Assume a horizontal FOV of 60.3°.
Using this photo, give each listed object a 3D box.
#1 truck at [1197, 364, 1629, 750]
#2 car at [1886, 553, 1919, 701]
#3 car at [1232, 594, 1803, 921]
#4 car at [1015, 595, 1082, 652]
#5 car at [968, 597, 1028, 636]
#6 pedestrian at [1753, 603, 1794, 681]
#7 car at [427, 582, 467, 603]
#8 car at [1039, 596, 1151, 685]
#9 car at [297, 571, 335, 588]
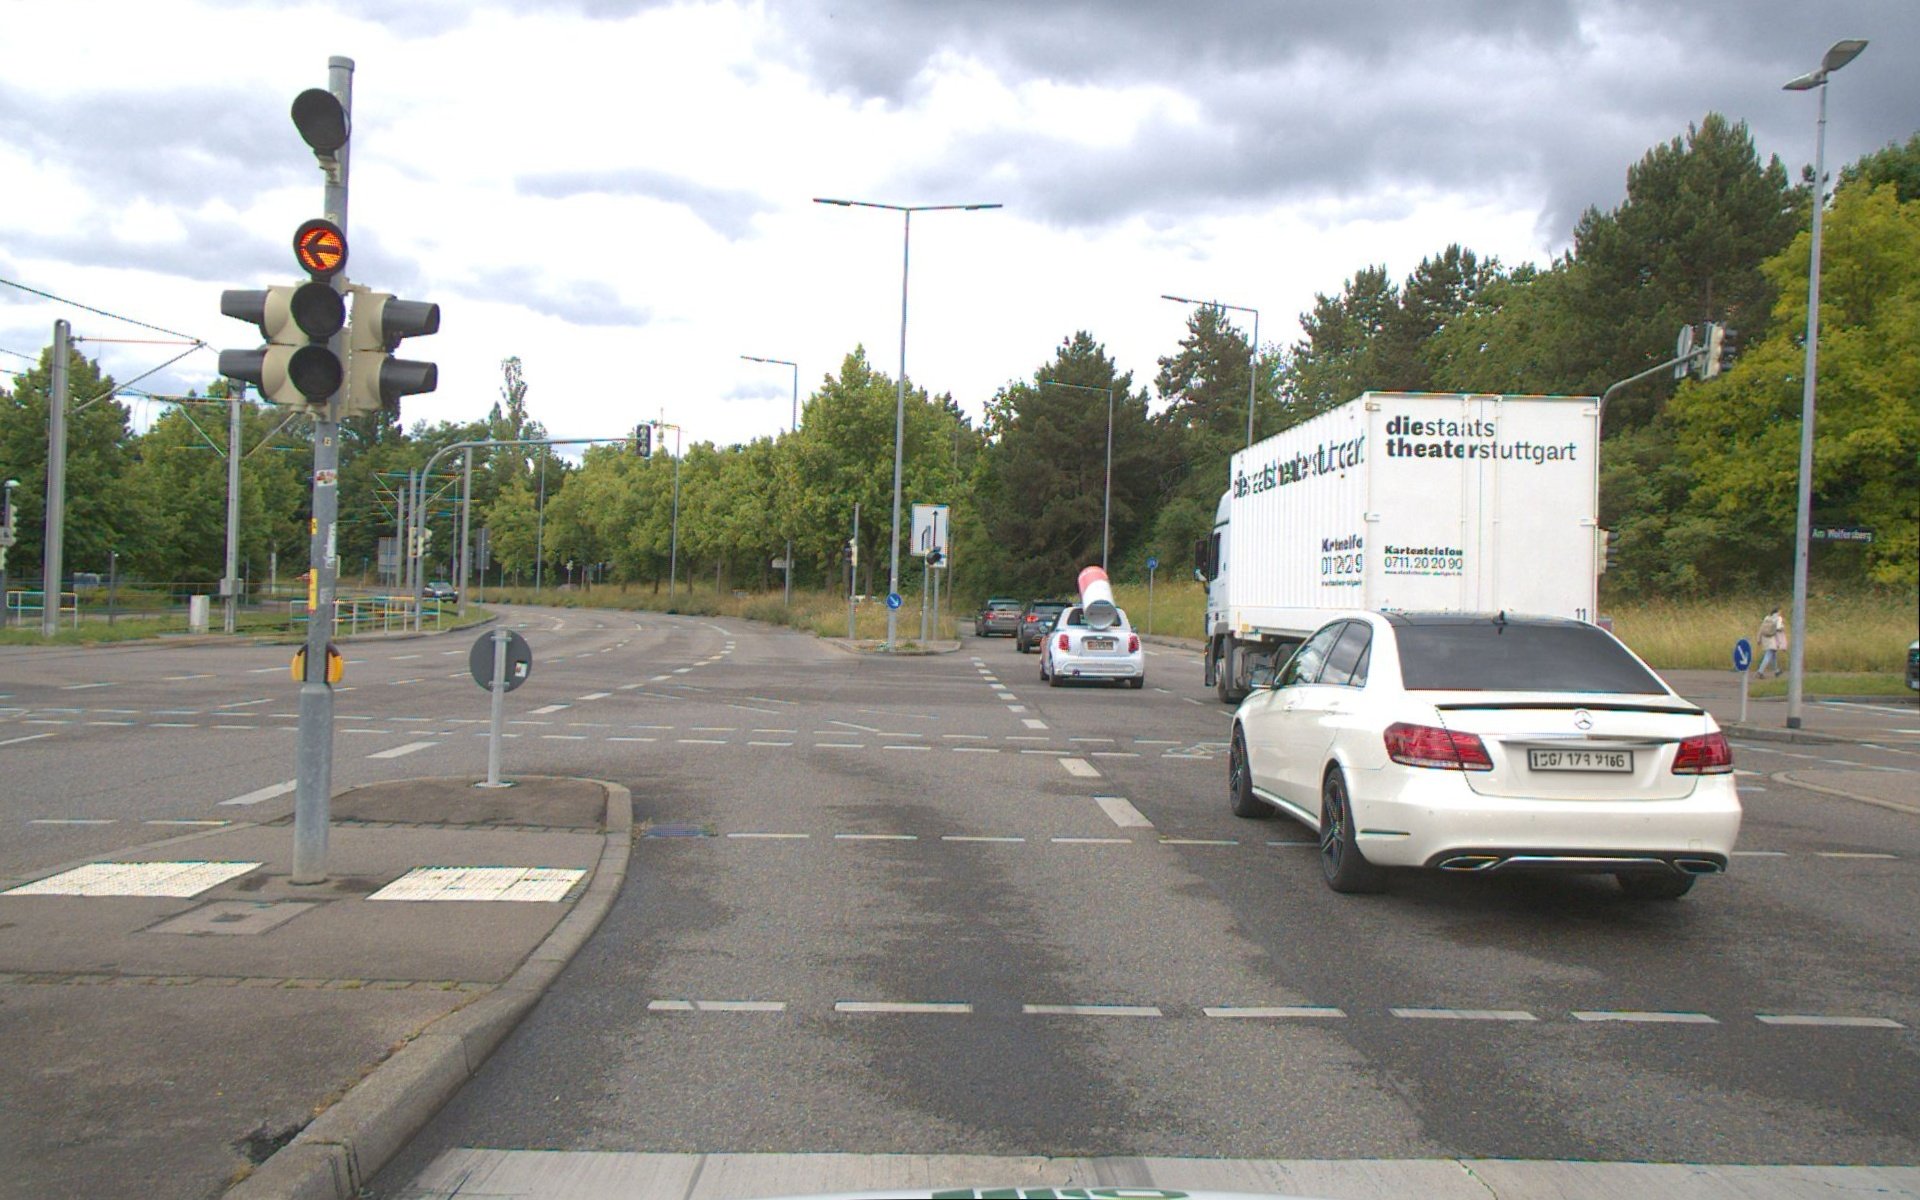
[{"bbox_3d":[5.450,-0.494,22.309,2.746,3.971,10.179,1,1,-1],"label":"truck"},{"bbox_3d":[20.253,0.535,30.071,5.685,2.676,2.000,1,-1,1],"label":"car"},{"bbox_3d":[2.861,0.720,9.580,1.763,1.436,4.316,1,0,-1],"label":"car"},{"bbox_3d":[2.503,0.630,47.363,1.591,1.519,3.836,1,0,-2],"label":"car"},{"bbox_3d":[1.521,0.655,67.609,1.714,1.534,4.038,1,0,-10],"label":"car"},{"bbox_3d":[17.350,0.890,35.290,0.630,1.640,0.714,1,-1,14],"label":"pedestrian"},{"bbox_3d":[-40.270,-0.591,129.710,1.781,1.615,3.947,1,0,-37],"label":"car"},{"bbox_3d":[2.448,0.725,30.726,1.784,1.532,3.494,1,0,0],"label":"car"},{"bbox_3d":[-66.436,-2.124,170.712,3.807,1.631,1.785,1,-1,34],"label":"car"}]
